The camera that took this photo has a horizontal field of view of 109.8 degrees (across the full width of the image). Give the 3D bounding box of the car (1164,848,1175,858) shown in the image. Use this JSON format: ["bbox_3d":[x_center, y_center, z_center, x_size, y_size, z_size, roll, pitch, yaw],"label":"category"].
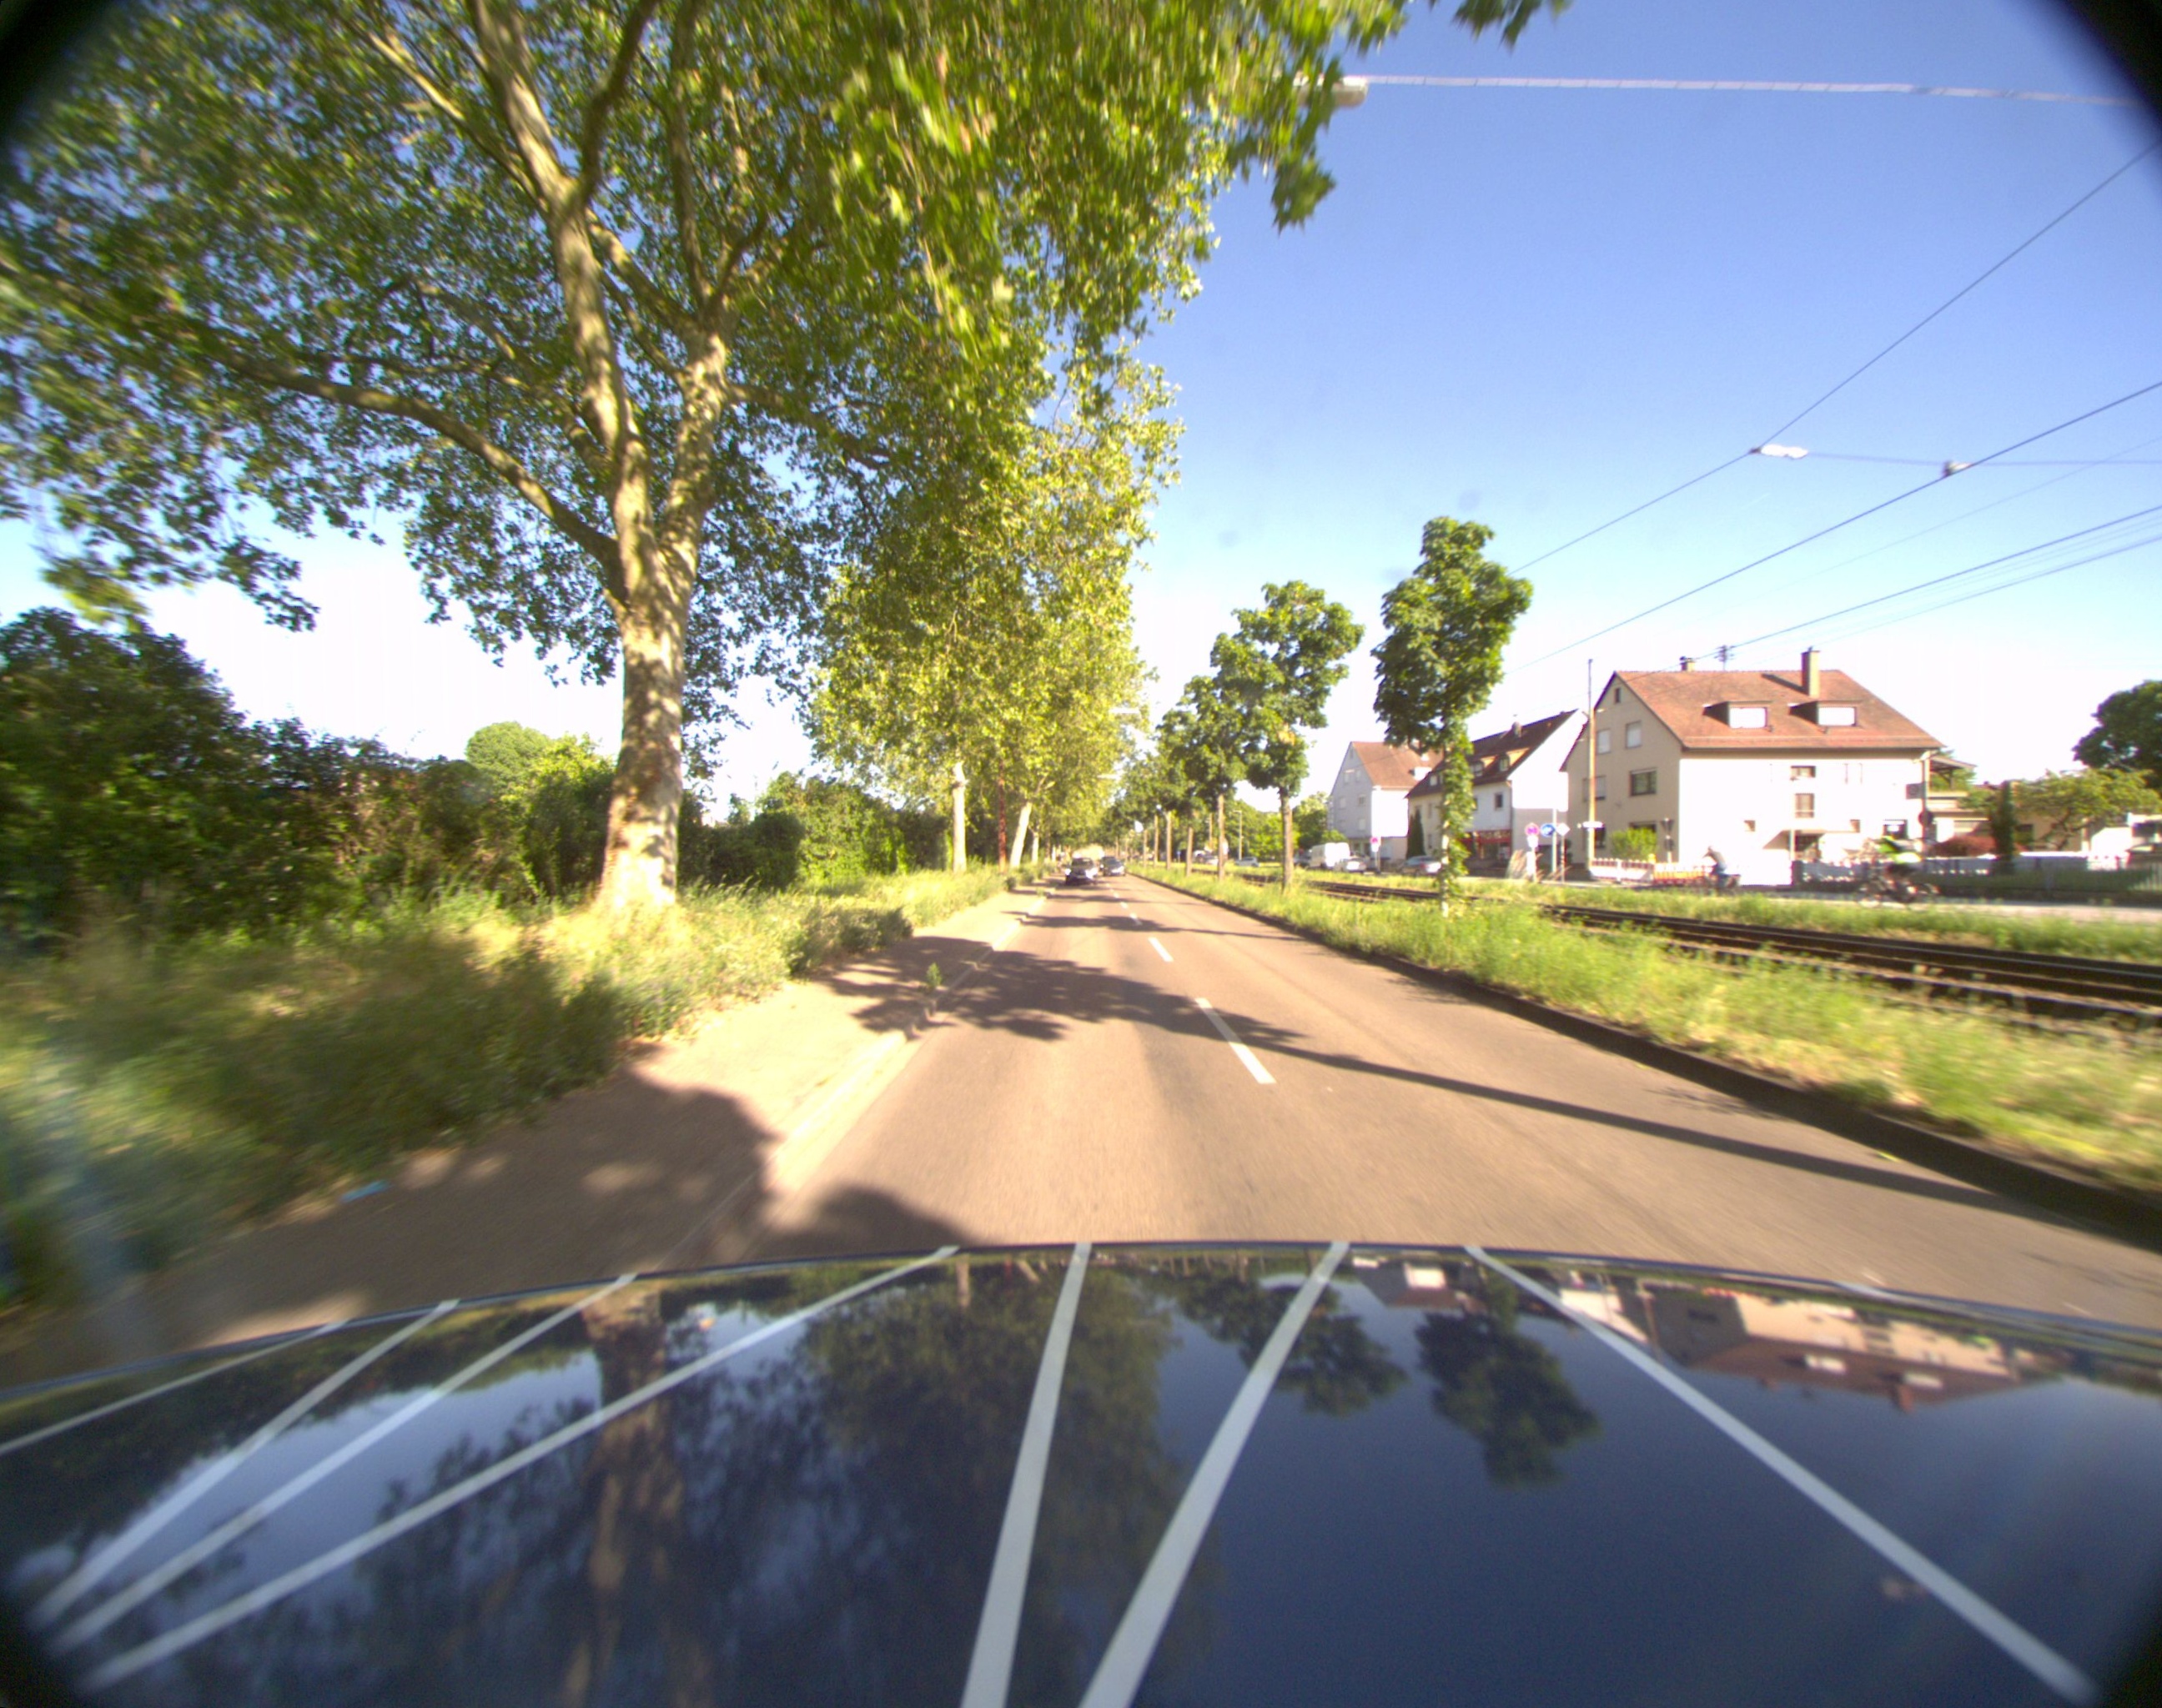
[{"bbox_3d":[23.778,-0.296,205.139,2.231,2.565,6.799,-2,0,1],"label":"car"}]

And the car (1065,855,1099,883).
[{"bbox_3d":[0.042,0.827,43.307,1.808,1.478,3.546,-2,1,0],"label":"car"}]

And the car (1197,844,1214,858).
[{"bbox_3d":[22.832,-0.568,139.506,2.188,2.362,6.464,-2,1,1],"label":"car"}]

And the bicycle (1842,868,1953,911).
[{"bbox_3d":[19.275,0.809,18.011,0.399,0.922,2.096,-1,0,1],"label":"bicycle"}]

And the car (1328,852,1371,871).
[{"bbox_3d":[22.011,0.599,62.509,1.829,1.404,4.657,-2,1,0],"label":"car"}]

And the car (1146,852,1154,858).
[{"bbox_3d":[18.052,0.310,199.415,1.680,1.401,4.000,-1,0,0],"label":"car"}]

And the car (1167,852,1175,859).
[{"bbox_3d":[23.385,0.391,197.527,1.626,1.613,4.532,-2,1,0],"label":"car"}]

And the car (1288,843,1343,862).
[{"bbox_3d":[33.415,-0.201,108.218,7.086,2.493,2.329,-2,0,-5],"label":"car"}]

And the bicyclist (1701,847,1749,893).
[{"bbox_3d":[19.312,0.465,22.792,0.690,1.329,0.881,-1,1,0],"label":"bicyclist"}]

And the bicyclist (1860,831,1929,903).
[{"bbox_3d":[19.202,0.306,17.946,0.690,1.642,0.881,-1,1,0],"label":"bicyclist"}]

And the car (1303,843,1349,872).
[{"bbox_3d":[21.992,0.245,68.487,1.998,2.445,6.674,-2,1,0],"label":"car"}]

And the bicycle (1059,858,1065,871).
[{"bbox_3d":[-1.746,0.958,70.729,0.441,1.146,1.823,-1,0,0],"label":"bicycle"}]

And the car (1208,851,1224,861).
[{"bbox_3d":[22.443,0.297,126.473,1.827,1.598,4.773,-2,1,1],"label":"car"}]

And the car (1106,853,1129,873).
[{"bbox_3d":[2.938,0.669,61.201,1.714,1.478,3.547,-2,1,2],"label":"car"}]

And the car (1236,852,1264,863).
[{"bbox_3d":[23.829,0.504,107.094,3.617,1.469,1.753,-1,0,21],"label":"car"}]

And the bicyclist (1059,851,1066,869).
[{"bbox_3d":[-1.742,0.569,70.683,0.615,1.619,0.909,-1,1,1],"label":"bicyclist"}]

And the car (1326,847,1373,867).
[{"bbox_3d":[27.941,0.322,79.153,4.151,1.941,1.998,-1,0,-10],"label":"car"}]

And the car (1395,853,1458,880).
[{"bbox_3d":[21.949,0.762,48.503,1.998,1.572,4.498,-2,0,1],"label":"car"}]

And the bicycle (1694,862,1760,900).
[{"bbox_3d":[19.301,0.799,22.746,0.399,1.064,1.880,-1,0,1],"label":"bicycle"}]

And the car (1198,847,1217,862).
[{"bbox_3d":[17.076,0.081,102.661,1.920,1.872,4.523,-2,1,2],"label":"car"}]

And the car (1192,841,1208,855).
[{"bbox_3d":[23.083,-1.189,147.429,2.007,2.482,6.136,-2,1,0],"label":"car"}]
